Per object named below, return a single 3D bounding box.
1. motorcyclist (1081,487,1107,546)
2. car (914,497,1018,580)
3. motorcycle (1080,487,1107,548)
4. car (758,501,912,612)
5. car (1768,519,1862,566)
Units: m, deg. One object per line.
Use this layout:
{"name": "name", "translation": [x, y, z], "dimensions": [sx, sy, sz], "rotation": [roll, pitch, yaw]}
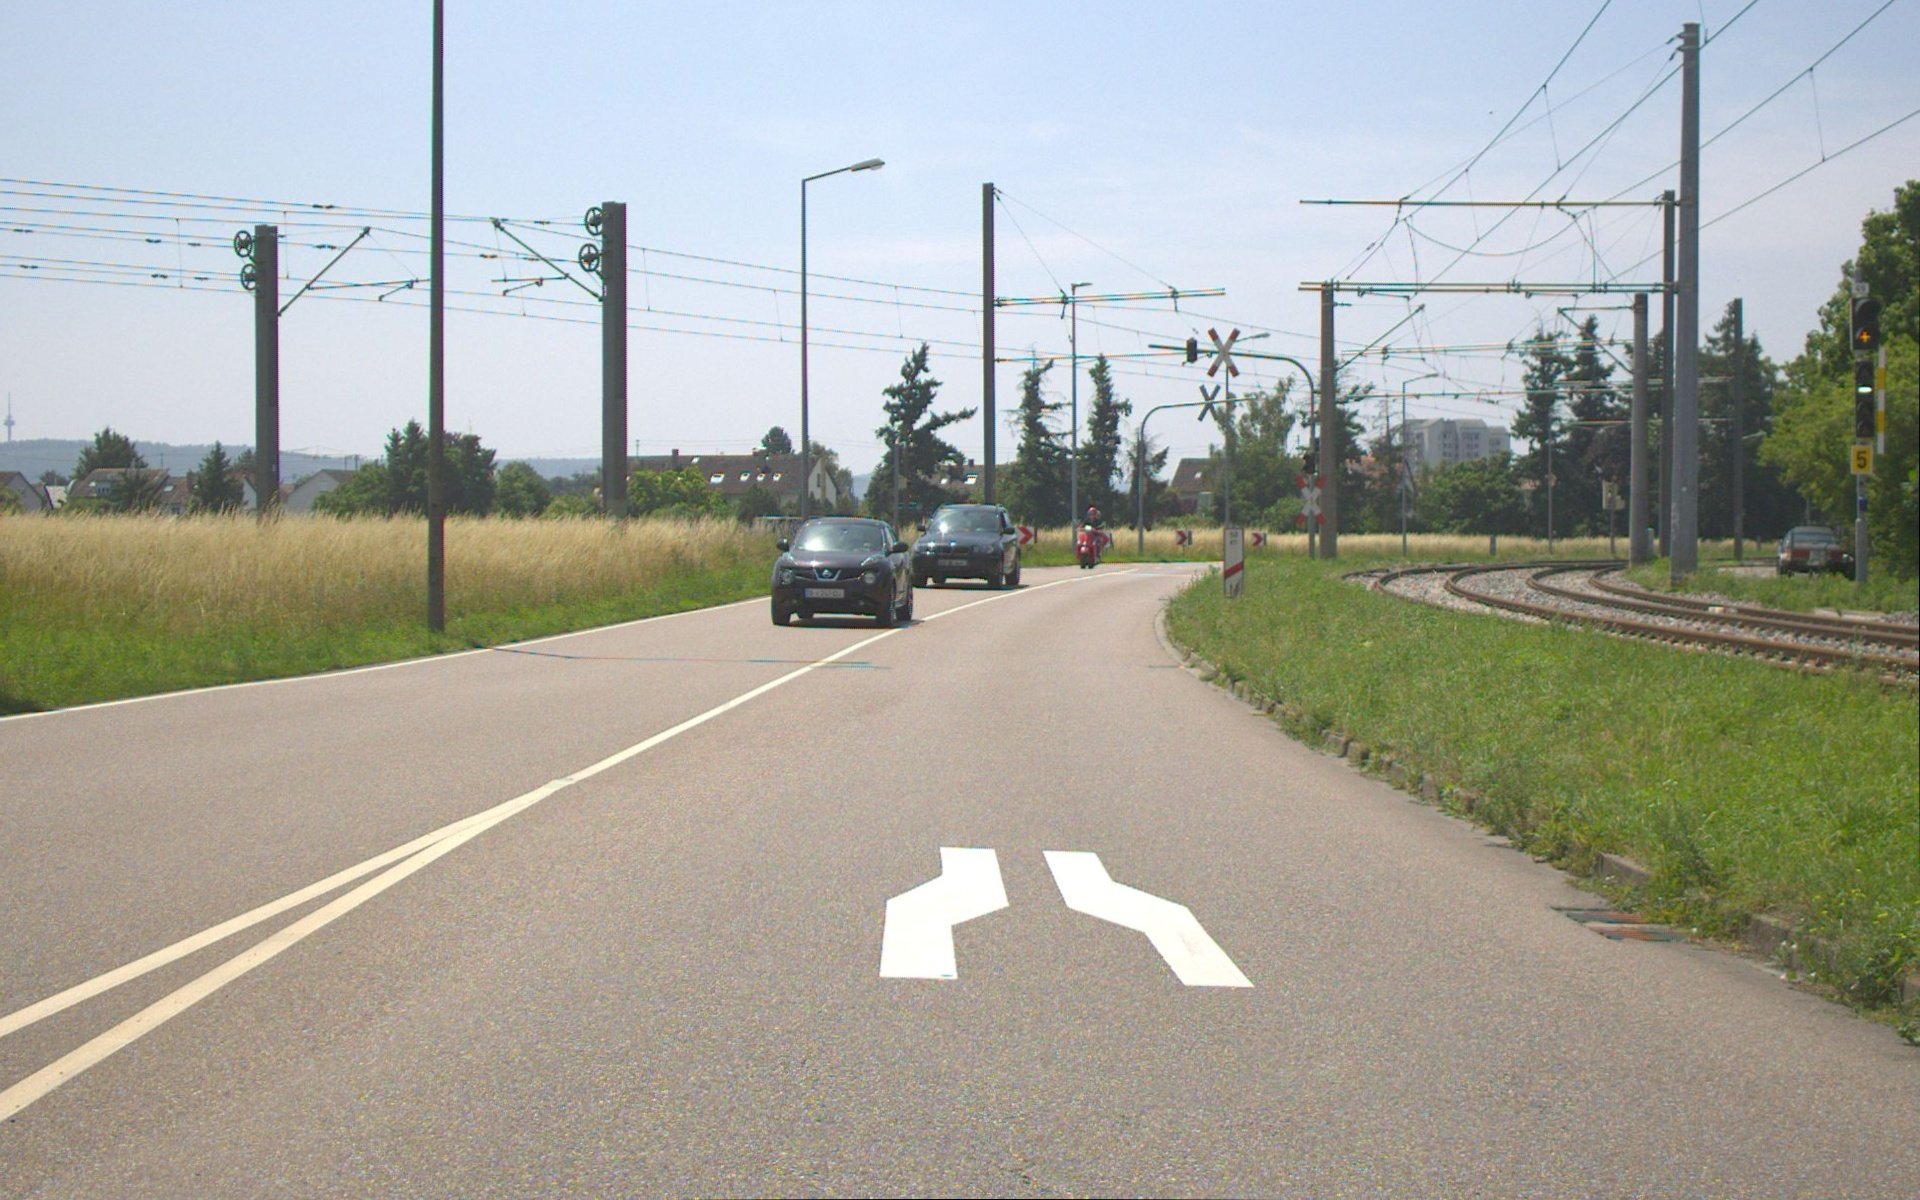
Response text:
{"name": "motorcyclist", "translation": [3.605, -2.247, 92.445], "dimensions": [0.688, 1.580, 0.670], "rotation": [0, 4, 3]}
{"name": "car", "translation": [0.153, -1.270, 69.497], "dimensions": [1.827, 1.596, 4.484], "rotation": [0, 2, 3]}
{"name": "motorcycle", "translation": [3.600, -2.233, 92.656], "dimensions": [0.704, 1.580, 2.147], "rotation": [0, 3, 3]}
{"name": "car", "translation": [-1.809, -0.625, 50.886], "dimensions": [1.822, 1.567, 4.111], "rotation": [0, 0, 4]}
{"name": "car", "translation": [22.620, -1.511, 91.079], "dimensions": [1.644, 1.166, 3.669], "rotation": [0, 0, 1]}
